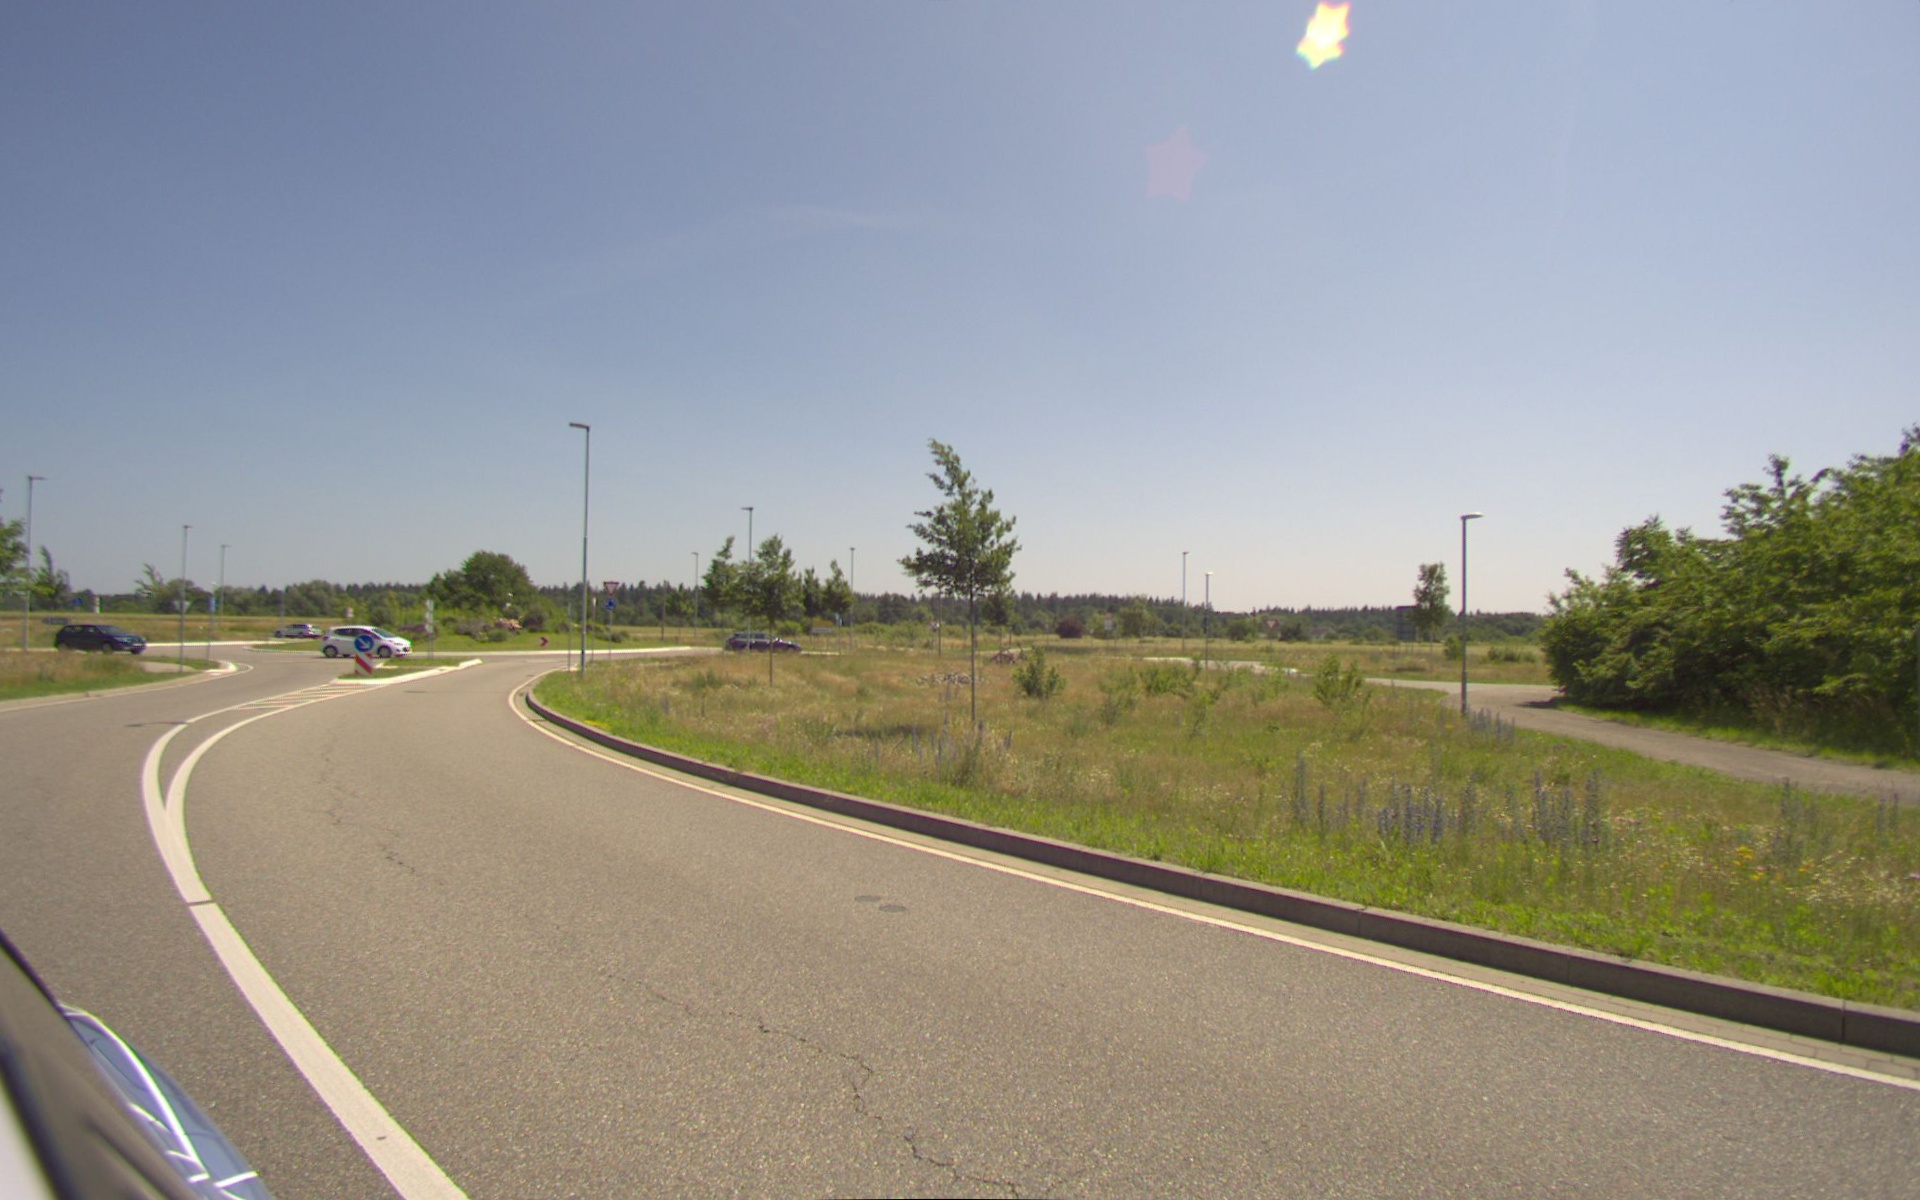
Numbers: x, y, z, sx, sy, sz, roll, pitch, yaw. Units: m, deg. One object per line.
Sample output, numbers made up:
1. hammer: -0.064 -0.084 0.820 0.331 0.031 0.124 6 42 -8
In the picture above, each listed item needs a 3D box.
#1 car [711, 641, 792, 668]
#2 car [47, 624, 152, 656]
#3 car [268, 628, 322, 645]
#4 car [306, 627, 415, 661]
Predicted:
1. car: -12.605 3.289 61.205 4.443 1.445 1.875 2 0 -30
2. car: -44.794 2.062 52.722 4.097 1.573 1.720 1 -1 4
3. car: -63.640 3.506 96.877 3.948 1.497 1.998 1 -3 4
4. car: -30.568 2.231 51.704 4.456 1.573 1.870 1 -1 -1
